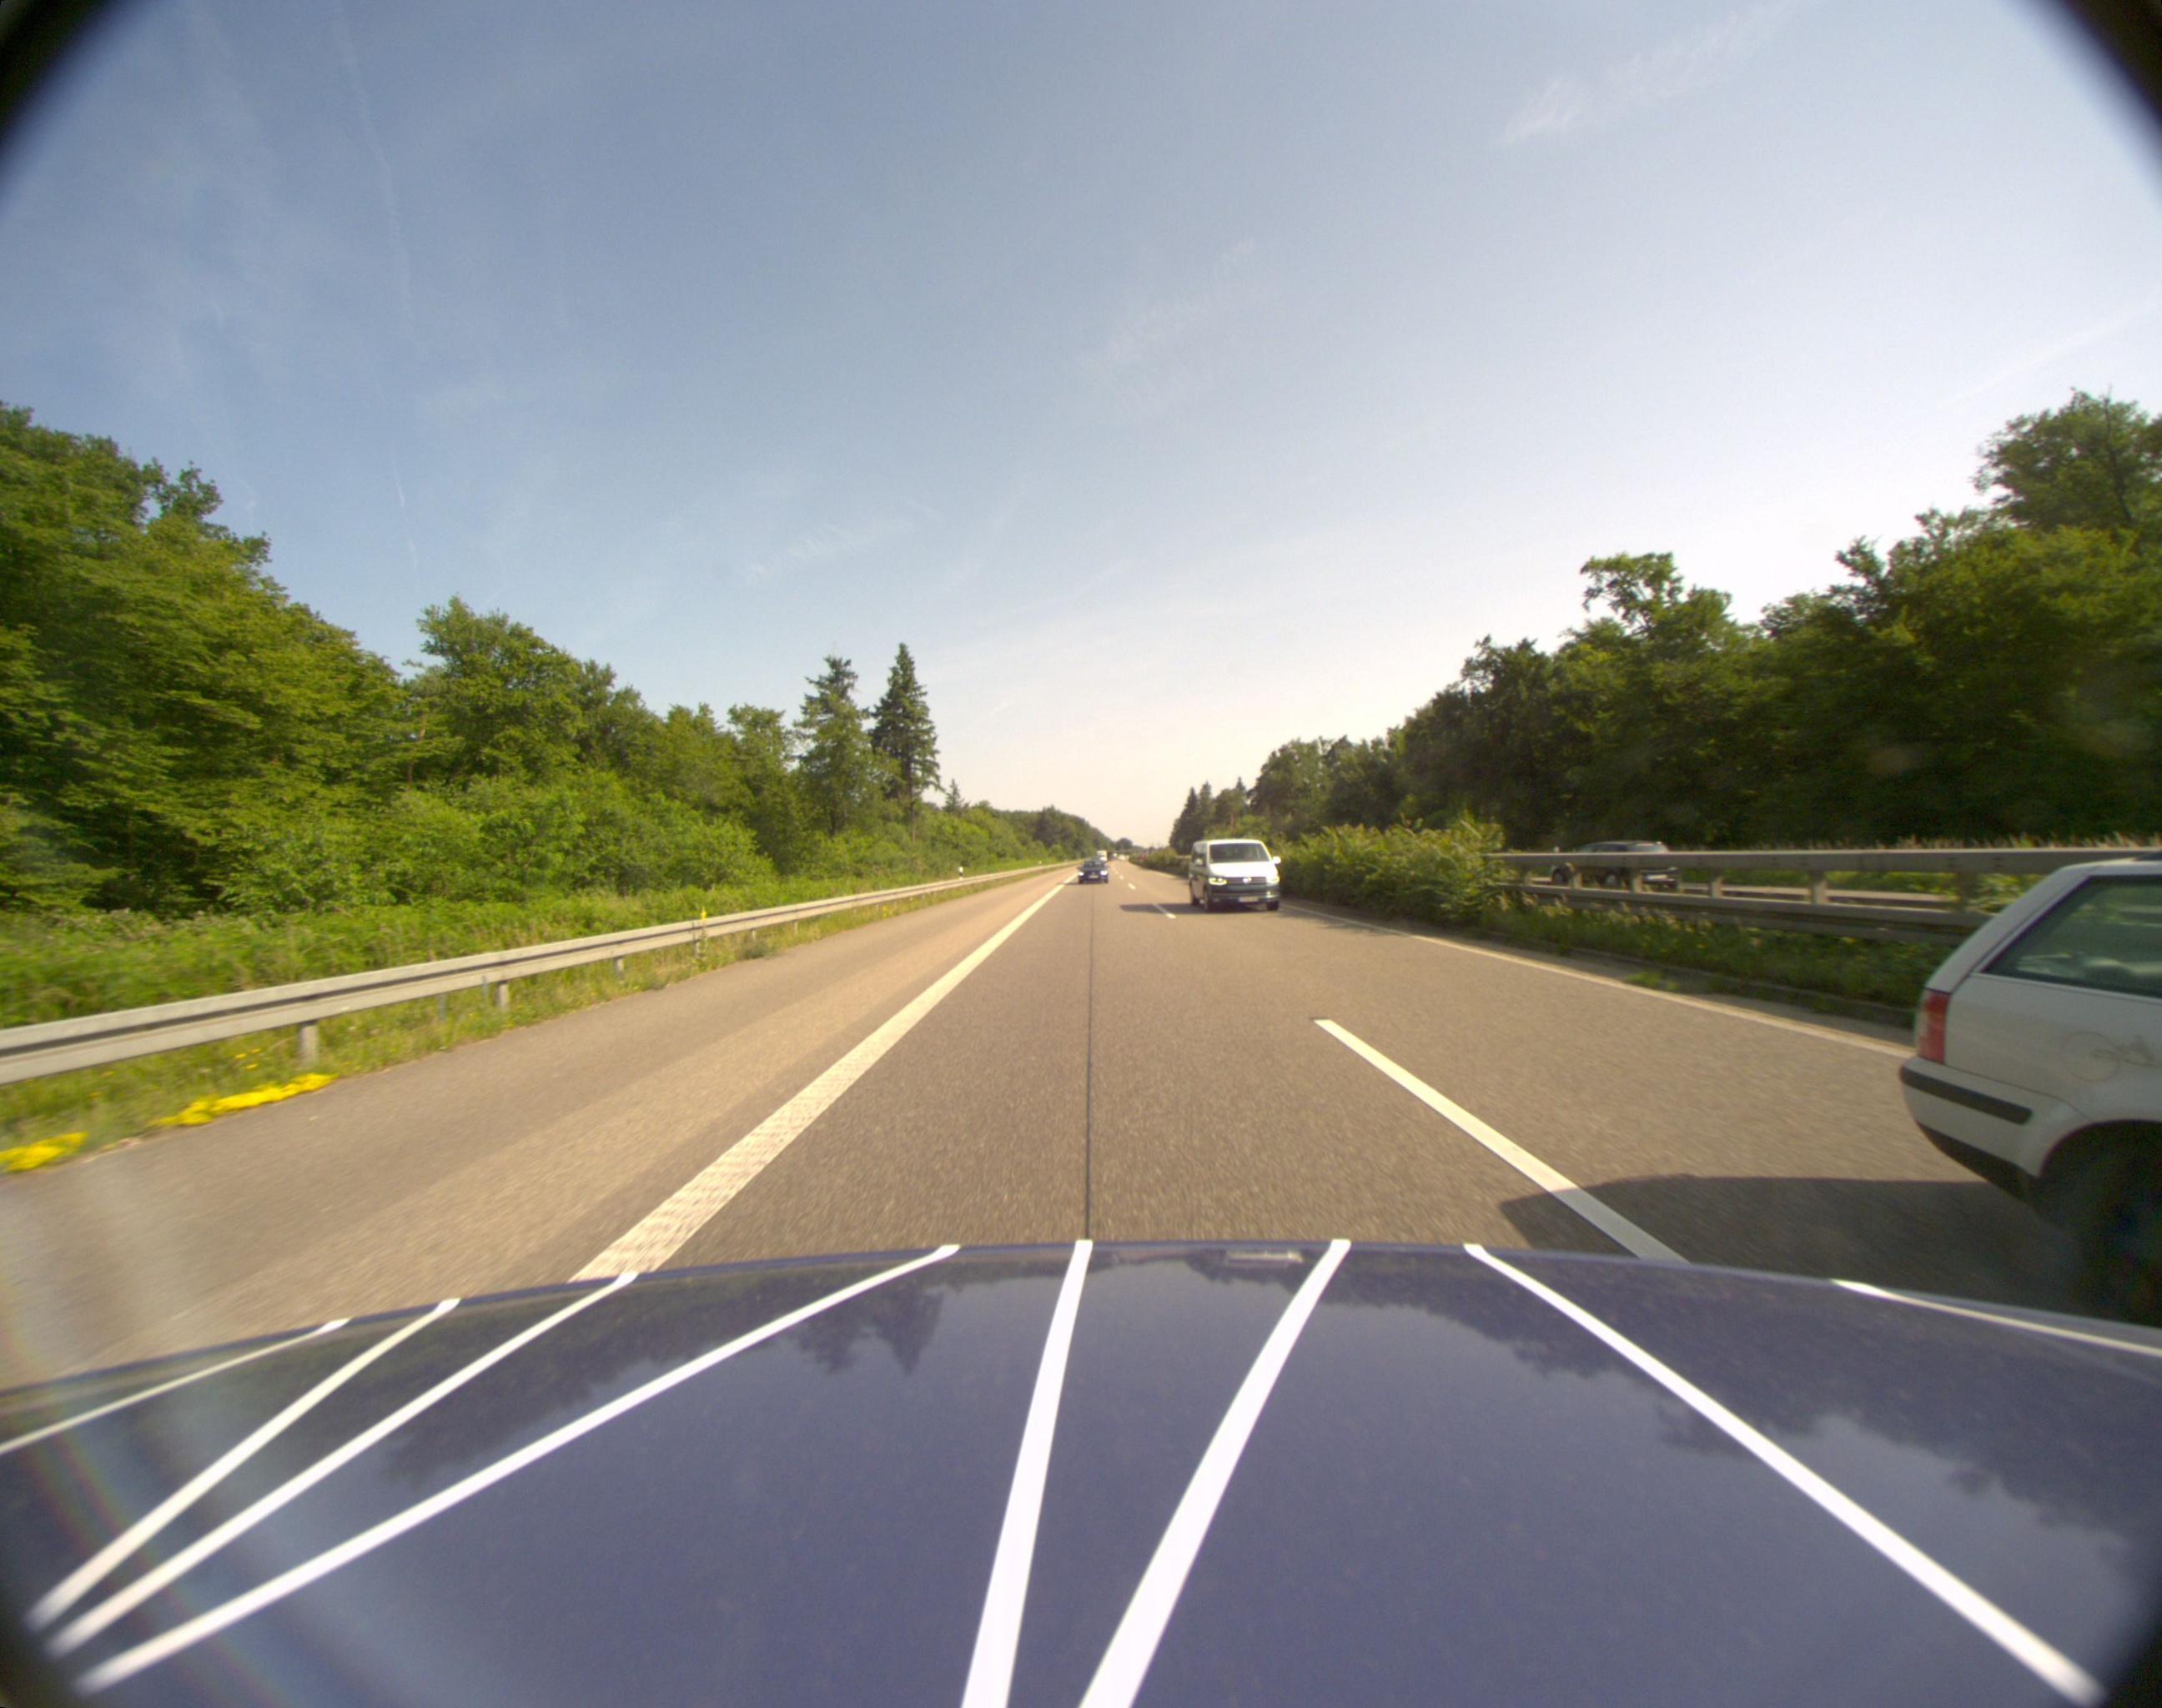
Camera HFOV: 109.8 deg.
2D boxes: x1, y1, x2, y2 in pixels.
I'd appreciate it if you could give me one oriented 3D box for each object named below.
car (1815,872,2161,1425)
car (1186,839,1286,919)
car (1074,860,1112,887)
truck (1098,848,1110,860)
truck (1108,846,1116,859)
[{"bbox_3d":[3.859,0.833,0.465,1.754,1.477,5.263,-2,0,1],"label":"car"},{"bbox_3d":[4.193,0.618,21.341,1.912,1.934,4.707,-2,0,2],"label":"car"},{"bbox_3d":[0.687,1.019,40.806,1.788,1.285,3.539,-2,0,4],"label":"car"},{"bbox_3d":[6.030,0.002,195.281,2.694,3.020,10.374,-2,0,3],"label":"truck"},{"bbox_3d":[10.379,-0.493,254.902,2.694,4.061,12.367,-2,0,3],"label":"truck"}]
